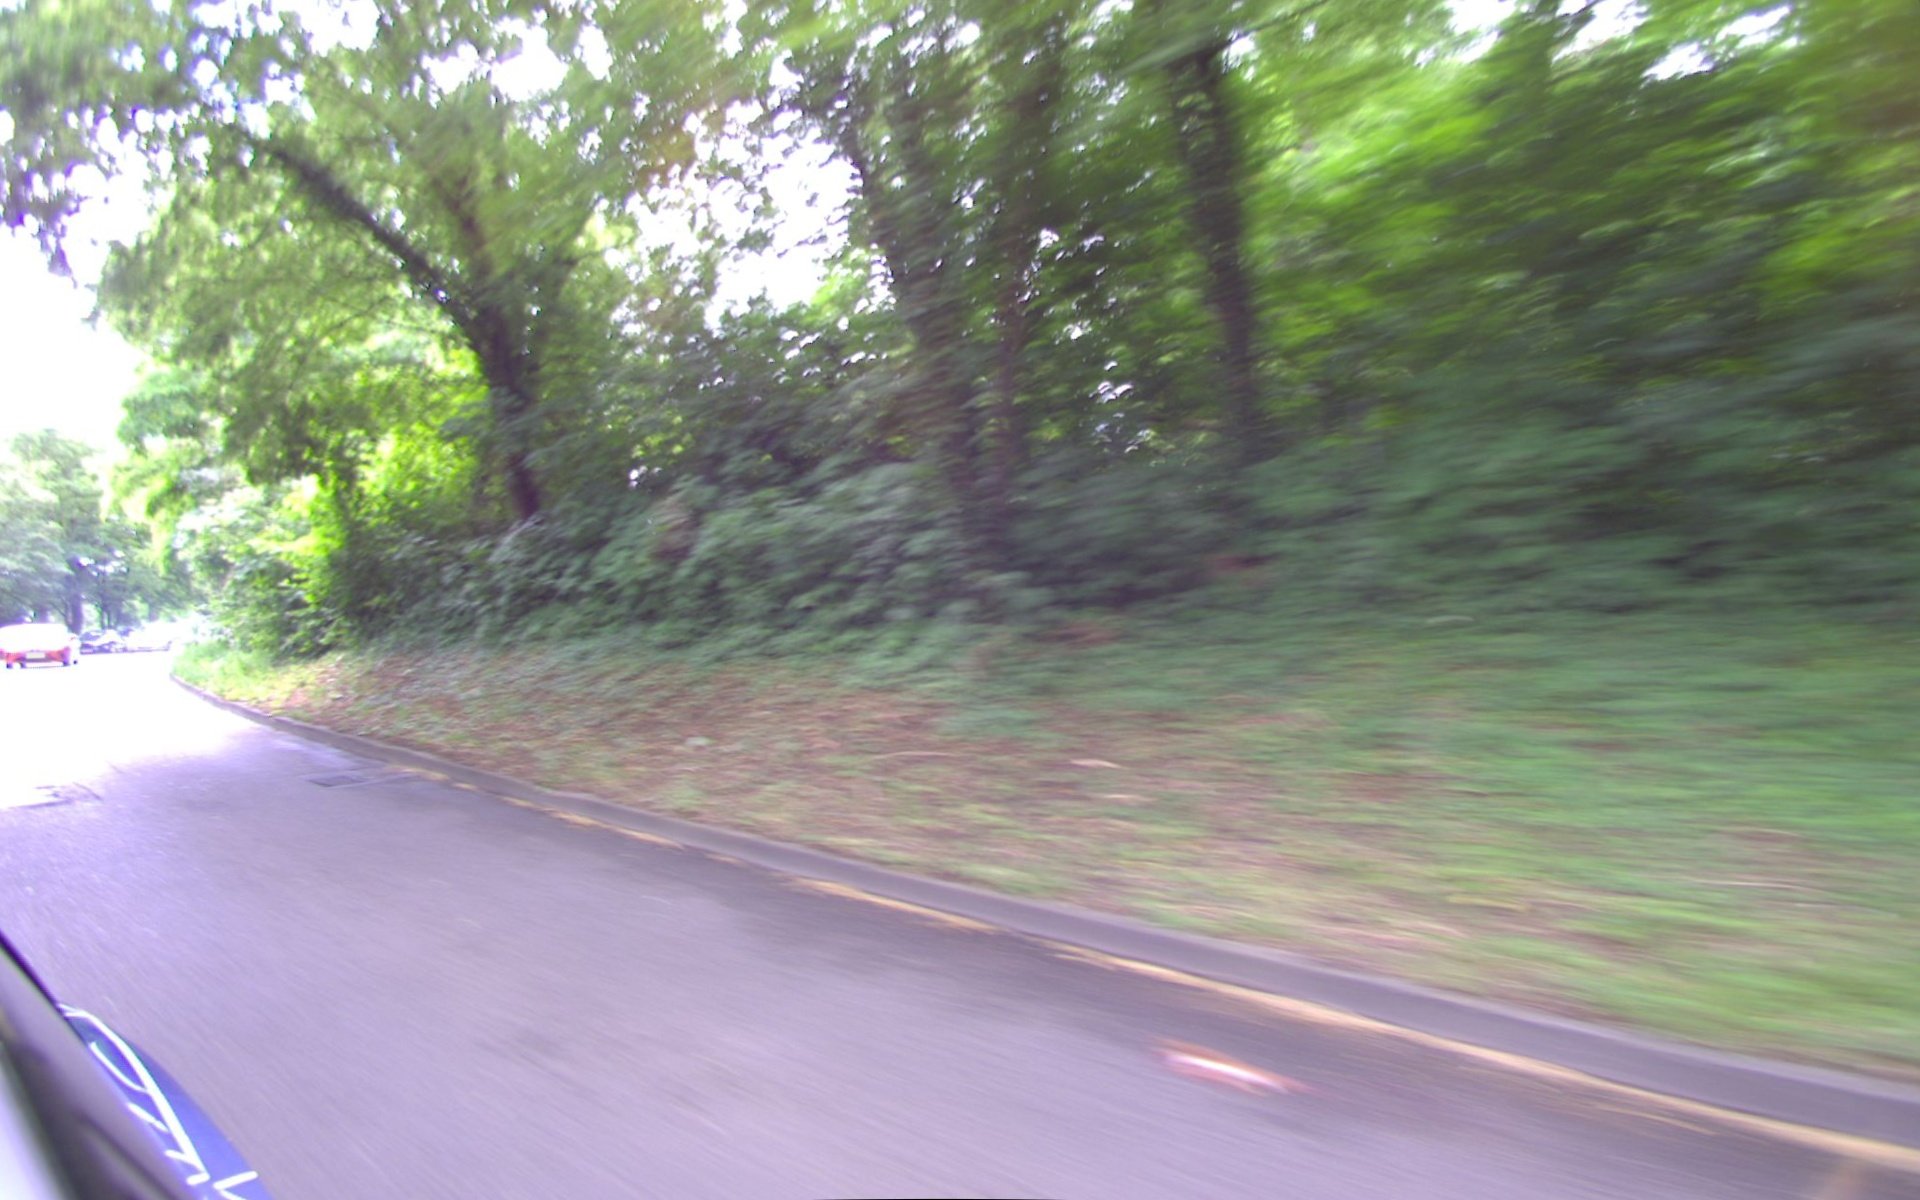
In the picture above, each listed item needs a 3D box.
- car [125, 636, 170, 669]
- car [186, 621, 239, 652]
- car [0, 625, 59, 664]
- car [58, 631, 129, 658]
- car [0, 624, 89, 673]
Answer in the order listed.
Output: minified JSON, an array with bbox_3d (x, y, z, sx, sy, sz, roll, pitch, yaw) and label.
[{"bbox_3d":[-43.857,2.781,54.679,1.629,1.580,4.055,-2,0,-36],"label":"car"},{"bbox_3d":[-40.210,1.928,54.508,1.769,1.519,4.012,-2,0,-30],"label":"car"},{"bbox_3d":[-42.222,1.992,45.429,1.687,1.563,4.691,-2,0,-30],"label":"car"},{"bbox_3d":[-47.295,2.404,55.353,1.686,1.265,4.692,-2,0,-25],"label":"car"},{"bbox_3d":[-32.025,1.643,35.381,1.927,1.483,4.688,-3,1,-35],"label":"car"}]
